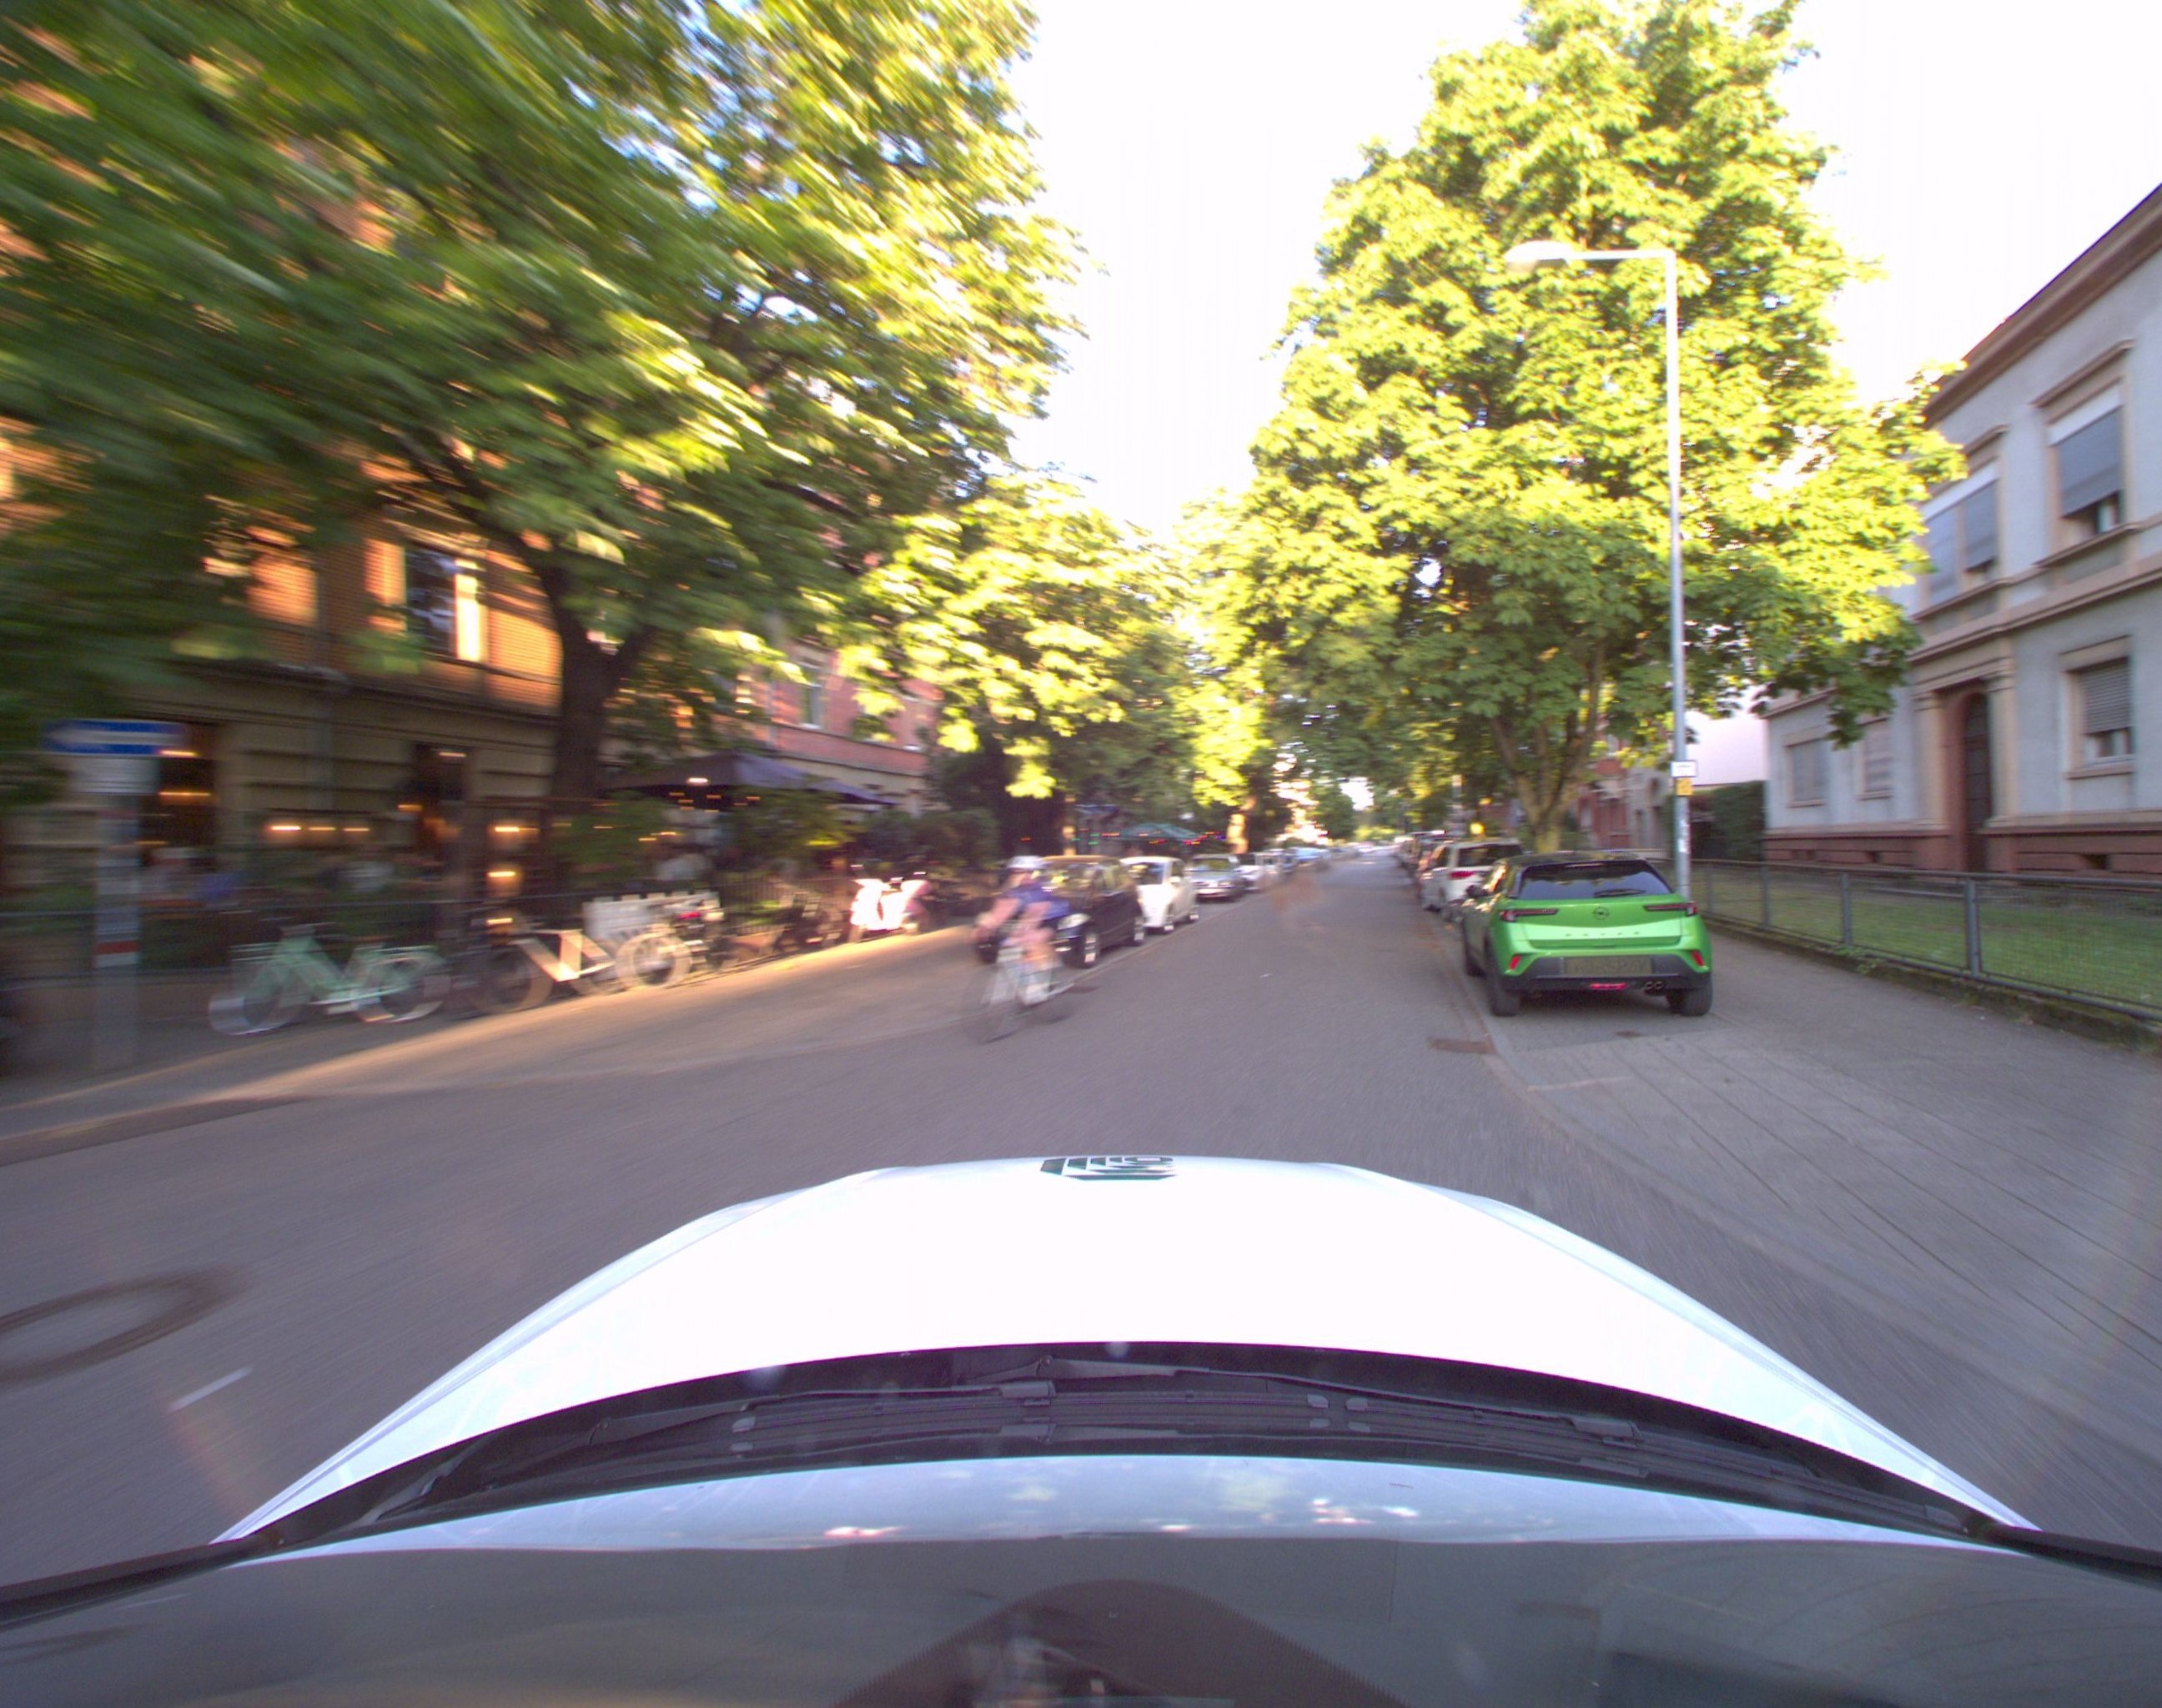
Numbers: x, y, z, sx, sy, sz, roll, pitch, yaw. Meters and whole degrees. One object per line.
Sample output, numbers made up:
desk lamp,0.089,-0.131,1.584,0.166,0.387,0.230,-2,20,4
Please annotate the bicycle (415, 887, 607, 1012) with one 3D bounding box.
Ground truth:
bicycle,-6.197,0.984,8.976,0.388,1.144,1.756,-1,1,24

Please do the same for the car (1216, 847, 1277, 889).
car,6.355,0.465,31.001,1.590,1.435,3.906,1,1,21

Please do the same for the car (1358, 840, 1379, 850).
car,64.354,-1.993,182.079,4.314,2.318,1.754,-1,0,19

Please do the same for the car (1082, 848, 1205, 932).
car,1.432,0.658,17.315,1.650,1.493,3.729,1,1,20

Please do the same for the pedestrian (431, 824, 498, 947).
pedestrian,-7.562,0.372,10.004,0.428,1.451,0.462,-2,1,-11

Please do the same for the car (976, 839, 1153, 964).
car,-0.100,0.616,13.253,1.651,1.677,3.865,1,1,18

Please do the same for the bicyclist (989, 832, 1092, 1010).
bicyclist,-0.373,0.596,7.738,0.503,1.577,0.828,-2,1,36

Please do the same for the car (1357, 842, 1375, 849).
car,62.952,-1.860,179.850,3.590,1.461,1.614,-1,0,17

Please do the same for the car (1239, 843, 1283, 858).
car,18.619,-0.356,84.085,4.053,1.447,1.720,-1,1,29

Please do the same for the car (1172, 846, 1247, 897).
car,4.200,0.484,25.998,1.826,1.411,4.620,1,1,15

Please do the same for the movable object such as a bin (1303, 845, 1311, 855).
movable object such as a bin,31.788,-0.610,114.587,1.003,1.321,1.011,1,2,25

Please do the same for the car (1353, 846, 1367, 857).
car,40.724,-0.387,118.903,1.701,1.566,3.807,-1,1,21

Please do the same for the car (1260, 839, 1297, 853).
car,21.411,-0.891,88.431,3.529,1.447,1.829,-1,1,29

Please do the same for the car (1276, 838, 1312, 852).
car,26.112,-1.123,99.913,4.059,1.527,1.717,2,1,19

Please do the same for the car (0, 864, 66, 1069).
car,-10.159,0.942,5.775,3.831,1.545,1.634,-2,1,1

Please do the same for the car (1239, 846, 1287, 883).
car,7.962,0.412,35.381,1.538,1.485,3.713,1,1,20

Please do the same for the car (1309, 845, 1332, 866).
car,18.261,0.070,62.035,1.539,1.481,3.711,1,1,17

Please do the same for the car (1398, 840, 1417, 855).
car,39.807,-0.809,99.272,1.783,1.711,4.623,-2,0,18

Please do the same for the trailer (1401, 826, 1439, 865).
trailer,21.762,-0.556,52.419,1.937,2.295,4.669,-4,-1,20

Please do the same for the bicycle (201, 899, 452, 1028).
bicycle,-7.599,1.077,8.279,1.828,1.098,0.390,-3,1,-18

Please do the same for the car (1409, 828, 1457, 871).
car,17.813,-0.278,41.399,1.823,1.942,4.637,-4,0,20

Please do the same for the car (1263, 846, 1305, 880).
car,9.729,0.407,38.905,1.538,1.485,3.712,-2,0,19

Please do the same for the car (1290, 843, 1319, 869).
car,14.644,0.119,53.207,1.677,1.563,4.422,1,1,17

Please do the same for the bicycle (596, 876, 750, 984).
bicycle,-5.214,0.919,10.568,0.388,1.185,1.968,2,1,24

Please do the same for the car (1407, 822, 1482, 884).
car,13.826,-0.072,31.246,1.939,2.059,4.852,-4,0,17

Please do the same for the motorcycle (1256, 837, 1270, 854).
motorcycle,13.128,-0.630,58.596,0.577,1.156,2.907,1,2,21

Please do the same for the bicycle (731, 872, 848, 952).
bicycle,-4.646,0.892,13.141,0.387,1.144,1.969,1,1,30

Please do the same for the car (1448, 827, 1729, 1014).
car,5.218,0.564,8.973,1.717,1.557,3.982,-4,0,19

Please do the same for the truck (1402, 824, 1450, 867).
truck,19.933,-0.506,47.245,1.939,2.246,4.666,-4,0,17

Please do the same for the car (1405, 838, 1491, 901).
car,10.180,0.374,22.813,1.651,1.500,3.711,-4,0,17

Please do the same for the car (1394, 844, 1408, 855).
car,44.522,-0.676,113.472,1.672,1.441,4.231,-3,-1,20

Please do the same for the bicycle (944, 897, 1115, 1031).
bicycle,-0.423,0.963,7.708,0.532,1.034,1.918,-3,-2,34

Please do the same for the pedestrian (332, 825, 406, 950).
pedestrian,-8.564,0.391,9.811,0.428,1.451,0.462,-2,1,-11

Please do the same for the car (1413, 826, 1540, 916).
car,8.633,0.318,18.124,1.652,1.678,4.136,-4,0,14

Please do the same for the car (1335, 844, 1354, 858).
car,29.319,-0.321,90.559,1.602,1.470,3.983,-1,1,23

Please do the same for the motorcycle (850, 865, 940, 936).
motorcycle,-3.411,0.830,15.132,0.387,1.185,1.969,0,1,30

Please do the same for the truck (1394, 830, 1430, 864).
truck,24.000,-0.494,59.181,1.961,2.244,6.809,-2,0,19

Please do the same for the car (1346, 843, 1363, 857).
car,35.678,-0.590,106.161,1.905,1.717,4.451,-1,1,21

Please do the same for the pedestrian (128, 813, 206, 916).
pedestrian,-12.977,0.143,11.571,0.520,1.412,0.464,-2,1,6
